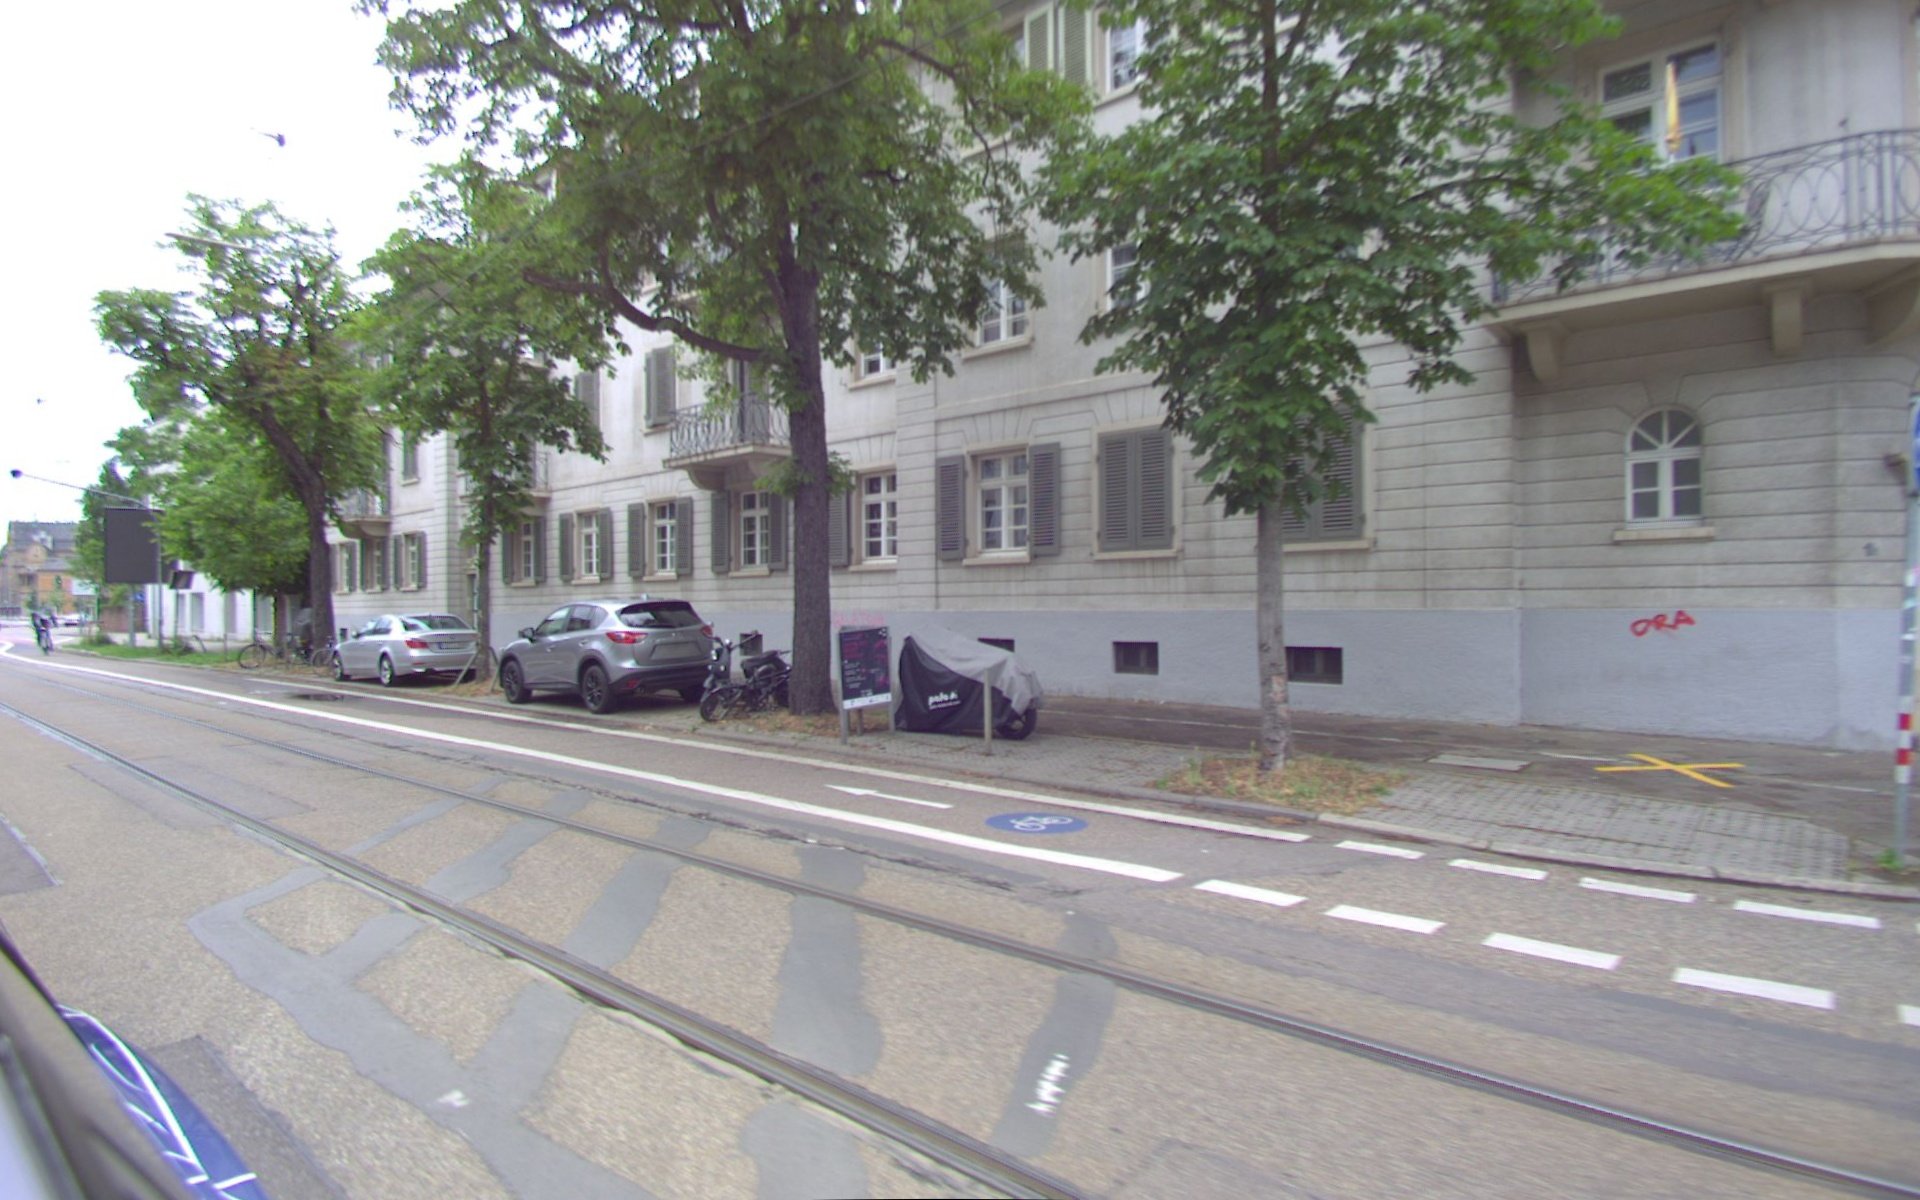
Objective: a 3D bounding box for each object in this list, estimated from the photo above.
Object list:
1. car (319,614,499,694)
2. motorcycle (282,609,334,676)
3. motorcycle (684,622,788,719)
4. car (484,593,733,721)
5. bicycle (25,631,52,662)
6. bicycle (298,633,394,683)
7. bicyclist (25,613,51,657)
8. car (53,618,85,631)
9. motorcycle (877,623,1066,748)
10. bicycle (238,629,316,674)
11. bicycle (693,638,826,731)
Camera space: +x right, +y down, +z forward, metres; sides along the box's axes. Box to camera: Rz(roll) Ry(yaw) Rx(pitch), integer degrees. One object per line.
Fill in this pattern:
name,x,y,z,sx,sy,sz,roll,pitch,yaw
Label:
car,-11.681,1.075,21.322,4.611,1.477,1.793,-1,0,41
motorcycle,-17.173,1.091,26.632,0.822,1.655,2.484,0,-1,-41
motorcycle,-3.061,0.935,13.882,1.270,1.231,0.548,-2,0,-43
car,-5.608,0.816,15.877,4.292,1.673,1.818,-1,1,42
bicycle,-36.926,1.845,40.543,0.765,1.221,1.871,0,-1,-43
bicycle,-14.617,1.361,24.140,0.563,1.035,1.877,-1,0,37
bicyclist,-36.850,1.394,40.462,0.765,1.703,0.869,0,-1,-43
car,-104.360,2.856,118.520,1.469,1.520,3.480,-1,0,-16
motorcycle,0.092,0.904,11.251,2.137,1.267,0.535,-1,2,35
bicycle,-18.810,1.404,27.912,1.718,1.137,0.519,-3,0,-31
bicycle,-2.587,1.055,13.109,1.360,1.012,0.930,-4,2,-45
